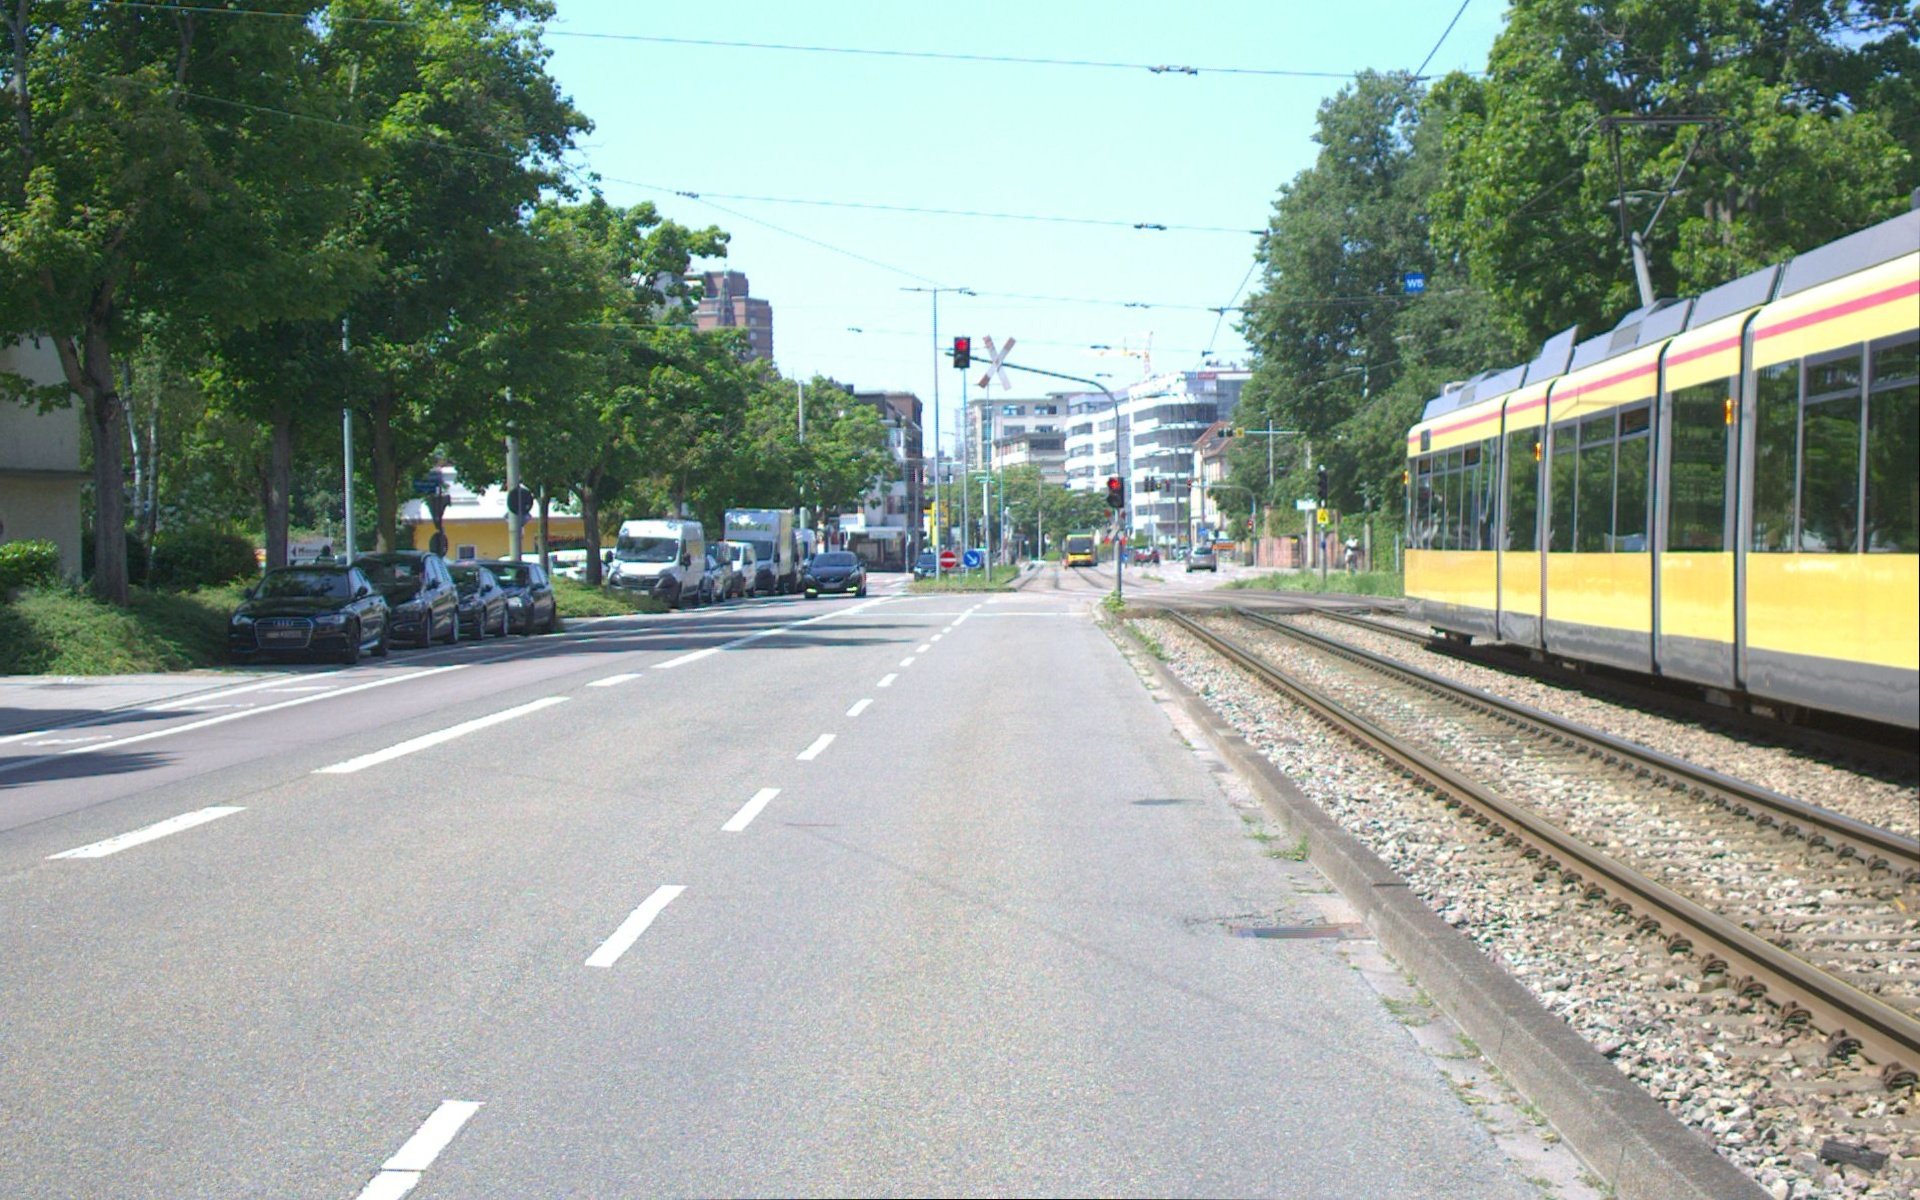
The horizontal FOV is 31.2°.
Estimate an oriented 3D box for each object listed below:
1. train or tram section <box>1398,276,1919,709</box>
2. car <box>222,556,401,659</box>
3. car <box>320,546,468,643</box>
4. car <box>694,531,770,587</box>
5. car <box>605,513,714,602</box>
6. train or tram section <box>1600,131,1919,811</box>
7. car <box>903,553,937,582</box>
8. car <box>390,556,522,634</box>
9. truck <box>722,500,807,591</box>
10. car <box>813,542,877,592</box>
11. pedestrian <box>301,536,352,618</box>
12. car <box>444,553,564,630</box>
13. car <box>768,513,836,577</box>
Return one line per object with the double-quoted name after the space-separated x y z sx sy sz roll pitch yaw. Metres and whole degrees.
7.360 -1.095 39.407 2.944 3.679 20.283 0 1 2 "train or tram section"
-9.740 0.073 51.978 1.774 1.451 4.804 0 1 0 "car"
-9.769 -0.129 59.641 1.774 1.598 4.637 0 1 0 "car"
-7.900 -1.427 119.544 2.061 1.891 4.871 -1 1 3 "car"
-8.655 -1.239 99.656 2.157 2.478 6.192 1 1 4 "car"
6.708 -0.724 20.121 2.943 3.679 18.389 0 1 2 "train or tram section"
-2.065 -1.703 179.307 1.678 1.393 4.006 -3 1 0 "car"
-9.509 -0.118 65.132 1.775 1.368 4.697 1 1 0 "car"
-7.218 -2.022 127.759 2.157 3.199 7.081 2 1 4 "truck"
-3.561 -1.038 107.071 1.775 1.455 4.195 -2 1 0 "car"
-14.289 -0.523 77.512 0.974 1.817 0.795 -1 1 -1 "pedestrian"
-9.209 -0.199 69.670 1.775 1.476 4.047 1 1 2 "car"
-6.548 -2.289 142.946 2.157 2.630 5.611 0 1 4 "car"
